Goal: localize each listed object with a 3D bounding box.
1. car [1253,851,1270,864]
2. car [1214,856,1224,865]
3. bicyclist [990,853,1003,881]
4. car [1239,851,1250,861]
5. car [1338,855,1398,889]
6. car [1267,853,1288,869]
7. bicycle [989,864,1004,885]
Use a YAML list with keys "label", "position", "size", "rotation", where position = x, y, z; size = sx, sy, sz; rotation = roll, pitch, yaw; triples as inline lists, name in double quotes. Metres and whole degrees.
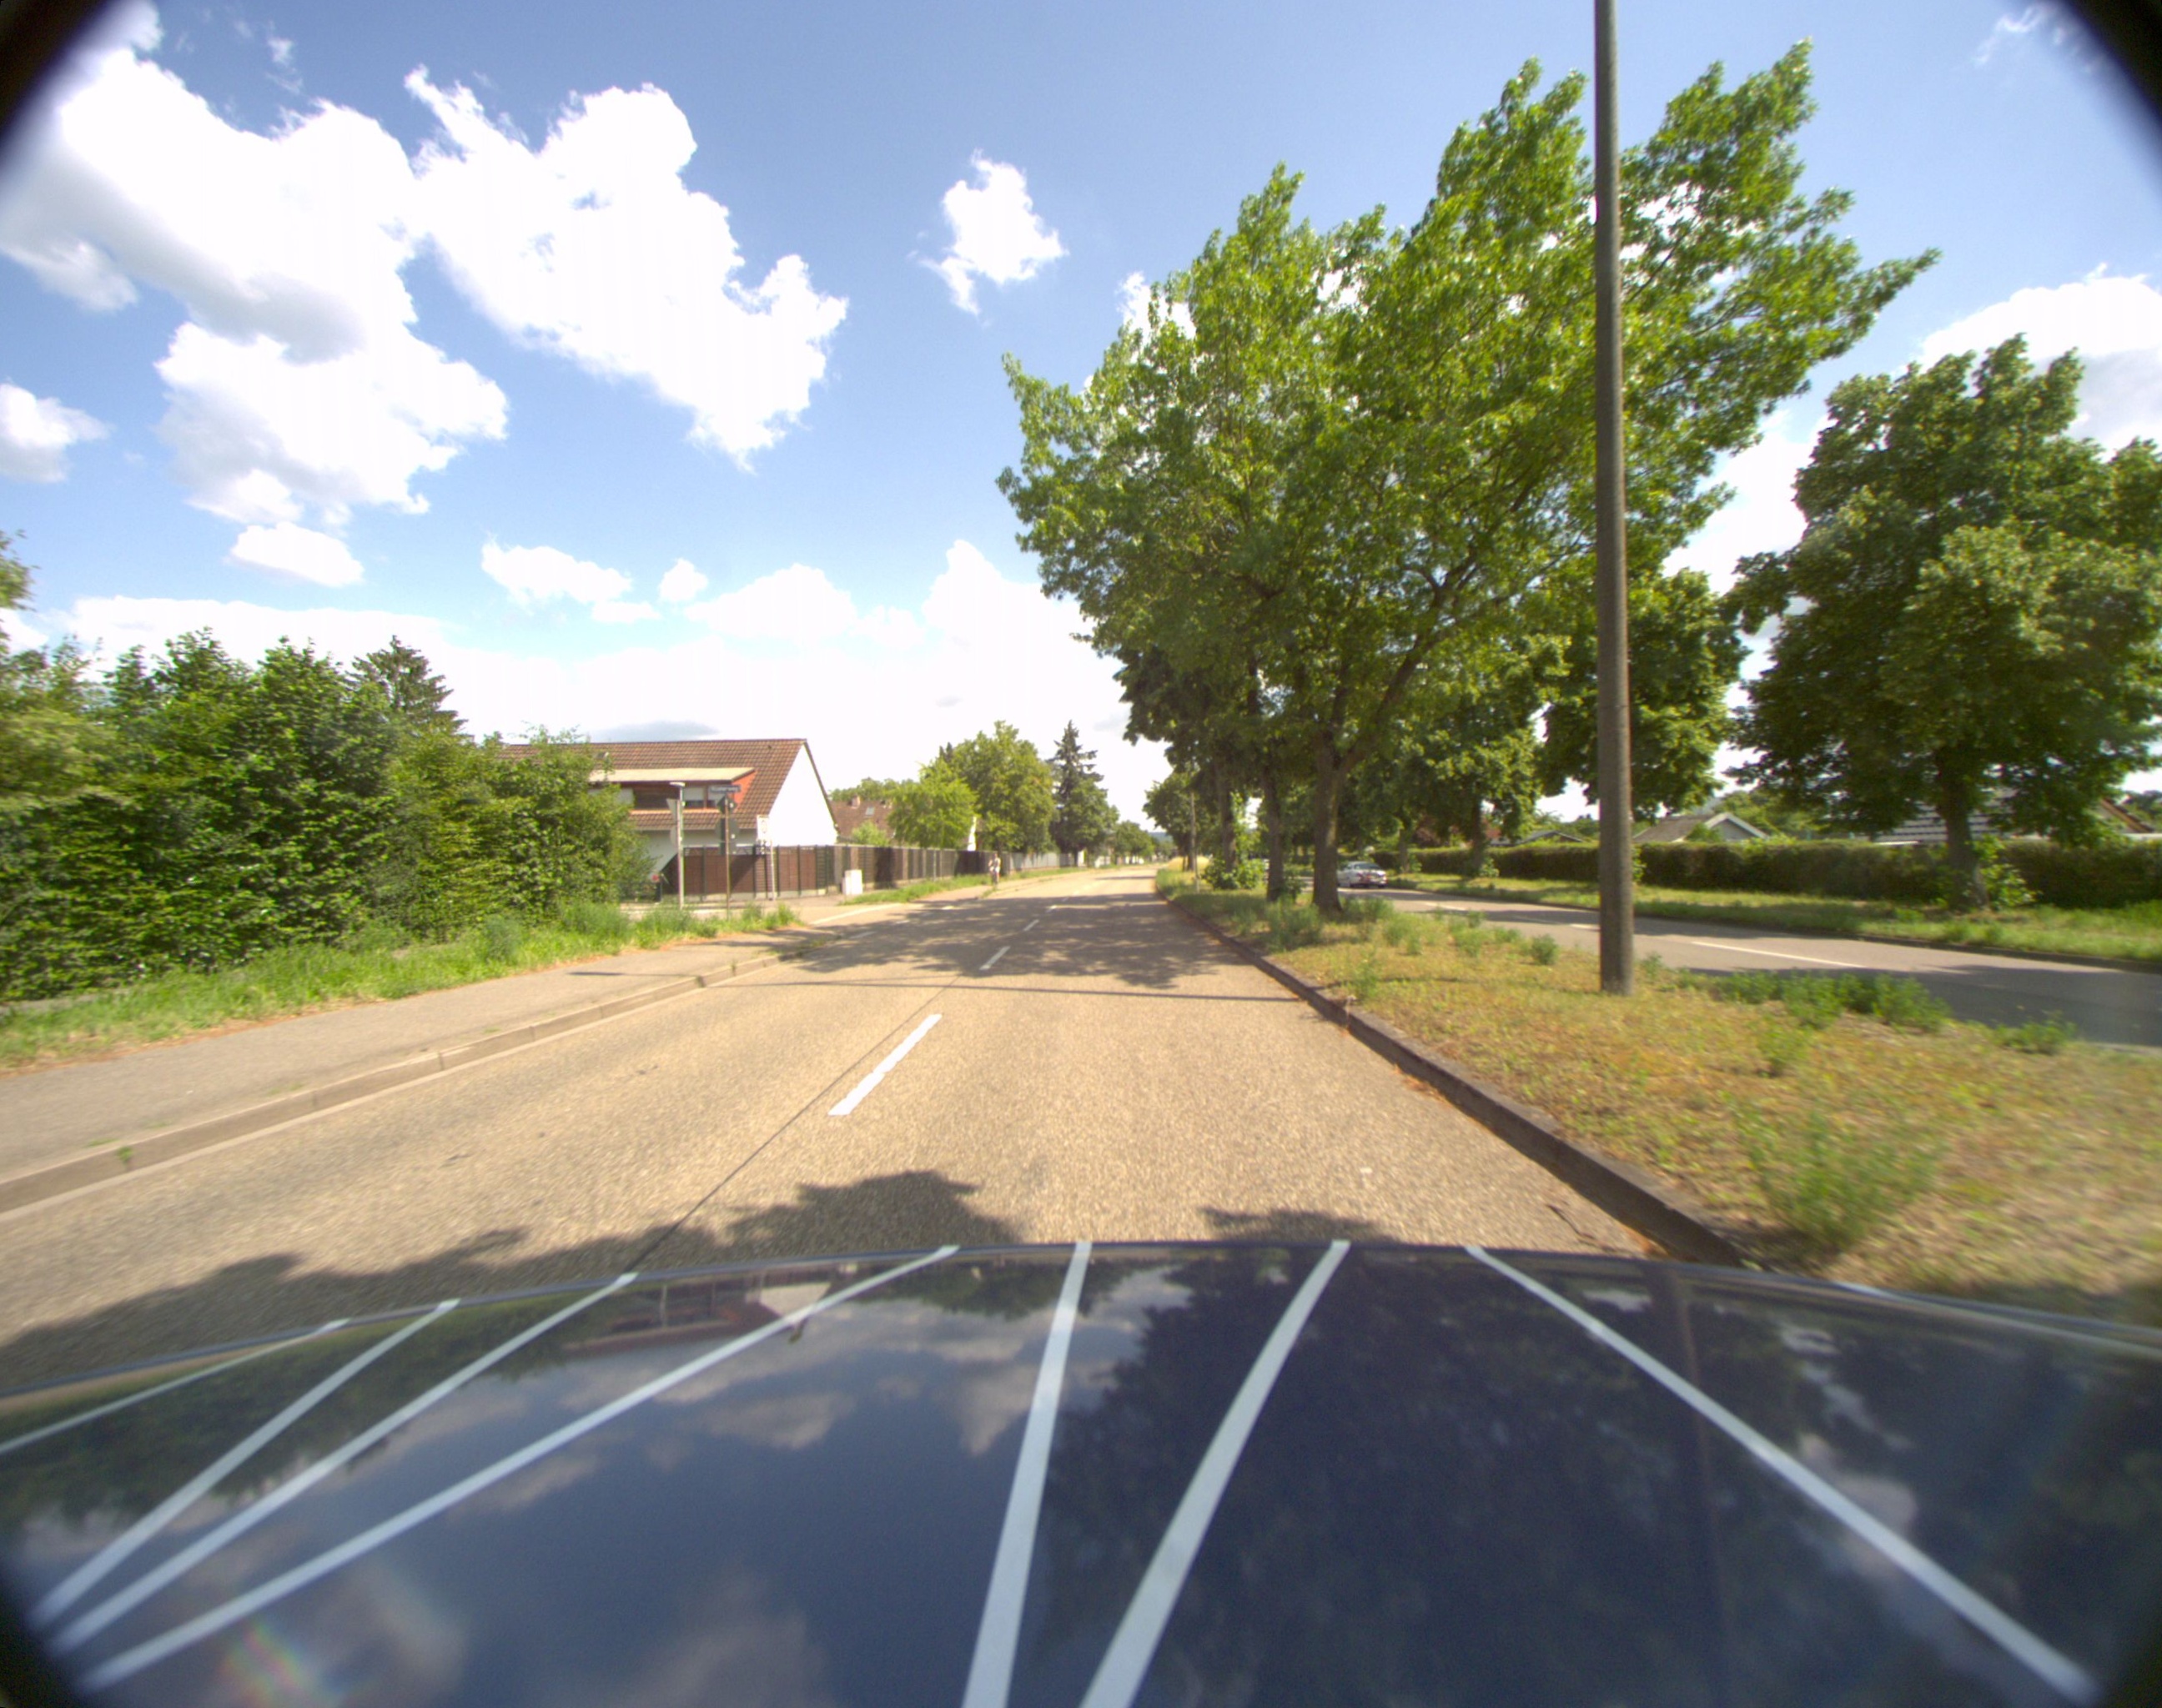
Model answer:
- label: "car"
  position: [21.884, 0.437, 92.138]
  size: [1.739, 1.577, 4.116]
  rotation: [1, 0, 10]
- label: "car"
  position: [22.939, 1.065, 126.288]
  size: [1.739, 1.577, 4.116]
  rotation: [1, 0, 10]
- label: "bicyclist"
  position: [-4.905, 0.739, 43.978]
  size: [0.620, 1.625, 0.700]
  rotation: [-1, 1, 1]
- label: "car"
  position: [28.456, 0.356, 132.503]
  size: [1.739, 1.577, 4.116]
  rotation: [1, 0, 10]
- label: "car"
  position: [14.548, 0.867, 38.708]
  size: [1.740, 1.577, 4.113]
  rotation: [1, 0, 4]
- label: "car"
  position: [19.923, 0.673, 77.081]
  size: [1.739, 1.577, 4.116]
  rotation: [1, 0, 10]
- label: "bicycle"
  position: [-4.896, 1.155, 43.963]
  size: [0.627, 1.145, 1.739]
  rotation: [-1, 0, 1]
